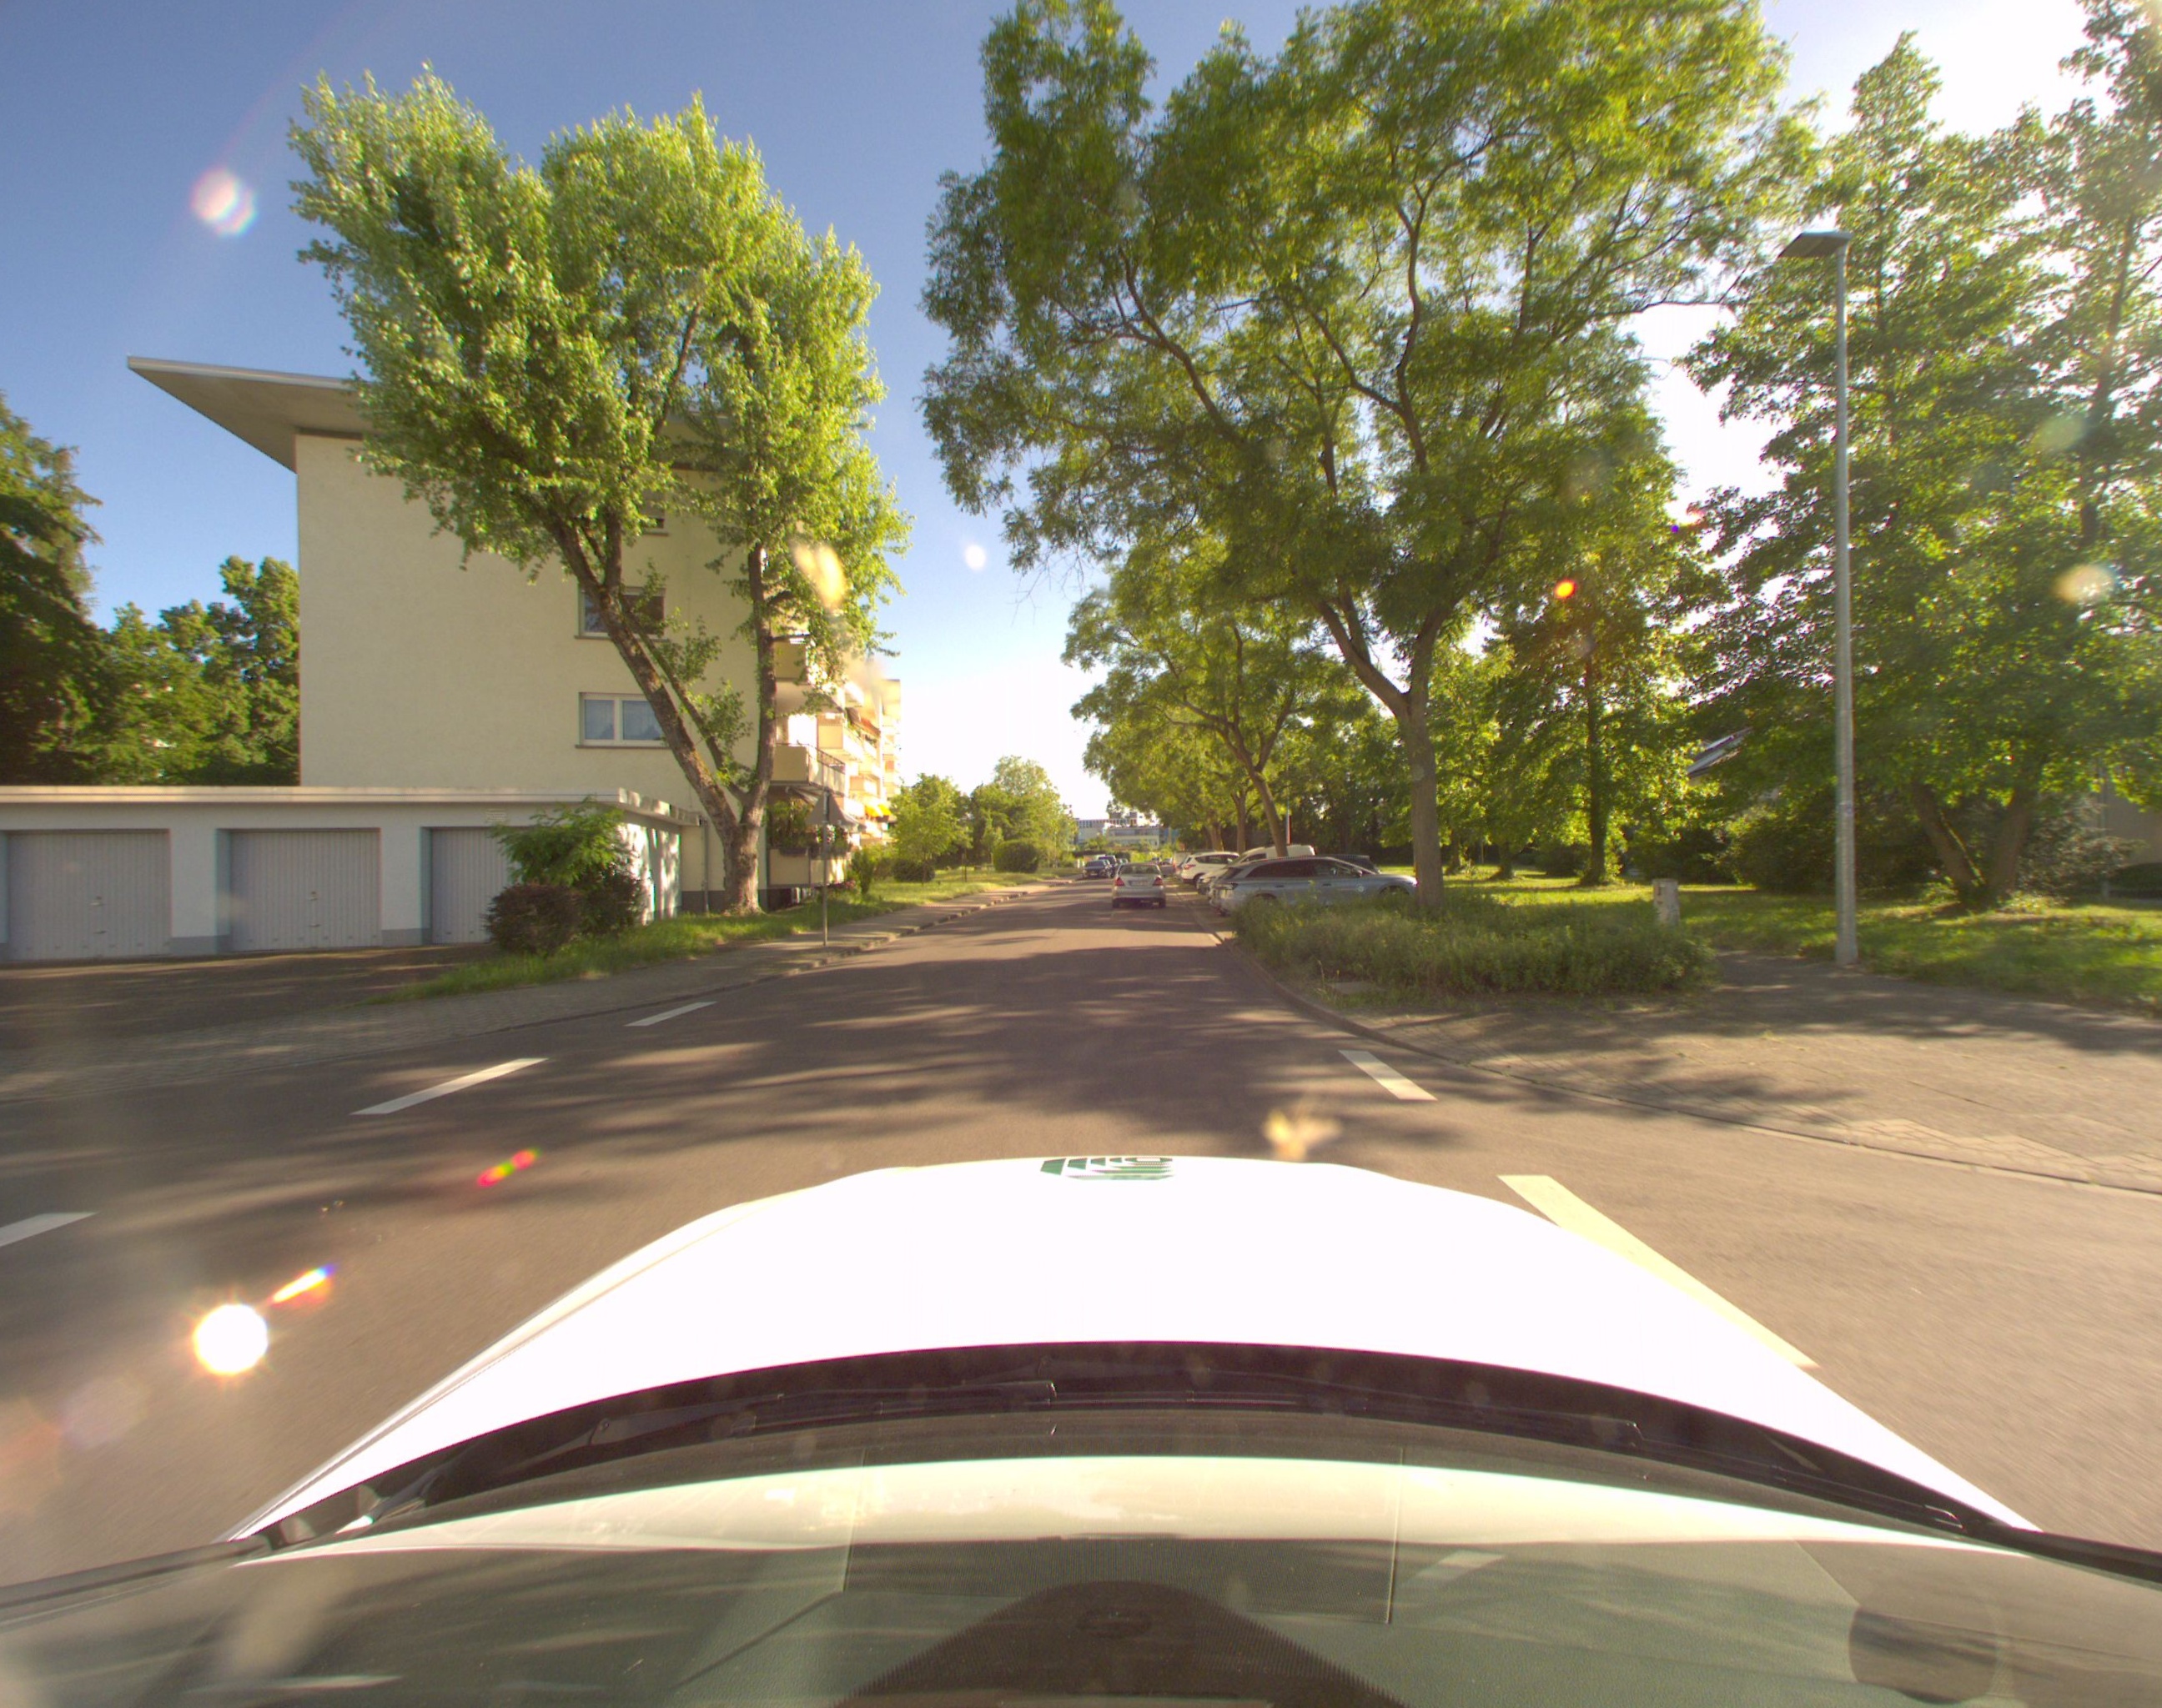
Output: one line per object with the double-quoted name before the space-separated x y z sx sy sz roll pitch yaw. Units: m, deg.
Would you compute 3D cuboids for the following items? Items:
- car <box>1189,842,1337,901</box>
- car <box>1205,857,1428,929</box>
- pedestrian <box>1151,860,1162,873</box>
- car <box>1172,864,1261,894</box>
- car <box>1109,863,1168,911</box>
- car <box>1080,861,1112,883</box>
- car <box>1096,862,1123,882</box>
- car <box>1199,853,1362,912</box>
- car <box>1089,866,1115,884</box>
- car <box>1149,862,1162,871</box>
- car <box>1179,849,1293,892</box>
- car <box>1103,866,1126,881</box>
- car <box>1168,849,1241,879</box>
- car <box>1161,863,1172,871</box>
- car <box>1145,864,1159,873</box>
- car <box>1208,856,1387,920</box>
"car" 6.520 0.606 29.526 4.873 1.924 1.998 -2 -1 -3
"car" 5.478 0.886 19.465 4.764 1.549 2.012 -1 -1 2
"pedestrian" 12.039 1.992 130.152 1.563 2.089 1.730 -1 -1 13
"car" 7.793 1.419 47.171 4.866 1.628 2.000 -1 -1 1
"car" 1.914 1.035 26.246 1.724 1.434 3.444 0 -2 7
"car" 1.190 1.353 62.341 1.903 1.490 3.845 -4 -1 7
"car" 2.609 1.638 74.348 1.739 1.688 4.276 -2 -1 11
"car" 5.946 0.846 24.704 4.427 1.517 2.001 -3 -1 2
"car" 1.789 1.720 68.307 1.741 1.323 3.749 -4 -1 7
"car" 13.295 2.255 145.330 1.882 1.503 3.667 -1 -1 10
"car" 6.934 0.727 36.968 4.861 1.723 2.003 -2 -1 5
"car" 3.313 1.891 80.891 1.739 1.330 3.460 -4 -1 10
"car" 8.977 0.749 59.535 5.190 2.059 2.004 -1 -1 6
"car" 17.147 2.552 162.739 1.882 1.503 3.667 -1 -1 10
"car" 11.961 2.400 137.121 1.882 1.503 3.667 -1 -1 10
"car" 5.728 0.893 21.938 4.406 1.571 1.740 -1 -1 4
